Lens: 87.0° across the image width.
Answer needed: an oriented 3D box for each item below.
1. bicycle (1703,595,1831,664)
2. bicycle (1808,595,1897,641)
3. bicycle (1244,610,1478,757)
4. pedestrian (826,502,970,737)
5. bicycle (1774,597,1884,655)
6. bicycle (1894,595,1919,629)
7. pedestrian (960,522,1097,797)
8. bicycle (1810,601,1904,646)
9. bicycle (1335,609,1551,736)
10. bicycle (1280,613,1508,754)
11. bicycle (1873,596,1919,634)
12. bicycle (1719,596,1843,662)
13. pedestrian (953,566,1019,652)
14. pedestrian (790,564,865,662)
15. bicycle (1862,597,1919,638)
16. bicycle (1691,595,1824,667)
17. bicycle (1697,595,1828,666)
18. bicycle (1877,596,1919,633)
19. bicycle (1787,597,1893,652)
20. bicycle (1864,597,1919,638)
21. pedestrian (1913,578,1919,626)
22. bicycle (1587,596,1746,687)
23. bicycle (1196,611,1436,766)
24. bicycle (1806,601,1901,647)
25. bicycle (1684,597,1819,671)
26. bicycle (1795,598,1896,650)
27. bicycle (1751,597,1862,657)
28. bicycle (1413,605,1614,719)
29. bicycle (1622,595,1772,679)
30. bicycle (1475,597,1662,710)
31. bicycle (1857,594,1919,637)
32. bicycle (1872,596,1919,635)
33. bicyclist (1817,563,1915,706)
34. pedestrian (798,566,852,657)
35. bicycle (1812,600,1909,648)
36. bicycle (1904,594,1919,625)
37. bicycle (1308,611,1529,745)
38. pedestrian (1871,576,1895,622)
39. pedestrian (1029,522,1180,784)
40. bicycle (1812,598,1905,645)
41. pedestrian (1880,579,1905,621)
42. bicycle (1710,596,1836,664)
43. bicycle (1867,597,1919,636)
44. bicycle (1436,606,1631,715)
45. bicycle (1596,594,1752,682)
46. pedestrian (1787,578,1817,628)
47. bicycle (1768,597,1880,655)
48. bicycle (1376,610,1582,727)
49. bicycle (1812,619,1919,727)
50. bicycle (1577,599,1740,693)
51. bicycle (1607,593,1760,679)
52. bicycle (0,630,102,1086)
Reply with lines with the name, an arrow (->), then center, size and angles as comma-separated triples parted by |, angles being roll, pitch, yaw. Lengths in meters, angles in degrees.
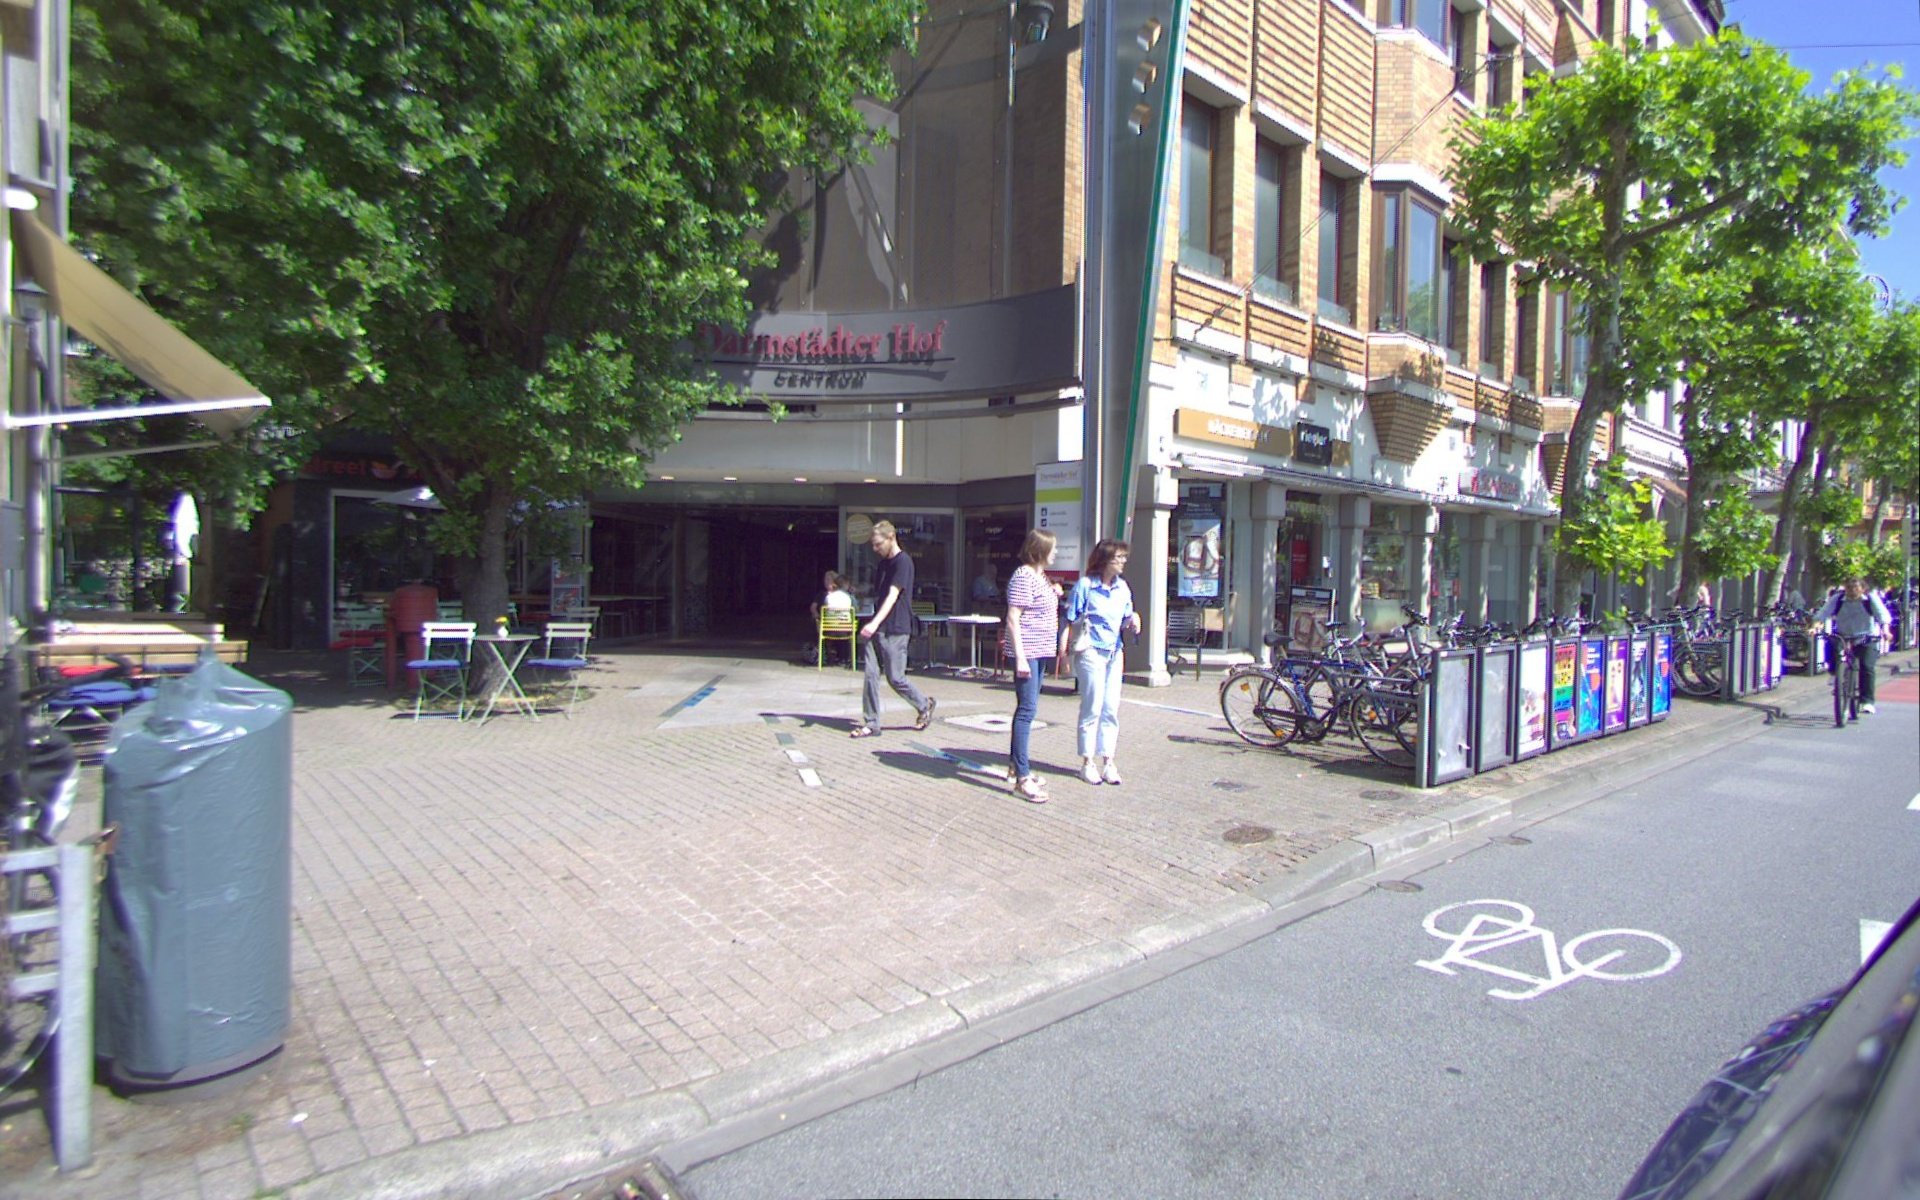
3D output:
bicycle -> 14.536, 0.500, 18.270 | 0.474, 1.161, 1.755 | 0, 1, -42
bicycle -> 23.994, 0.466, 27.234 | 0.474, 1.161, 1.755 | 0, 1, -42
bicycle -> 3.221, 0.623, 8.274 | 0.474, 1.031, 1.755 | 0, 1, -42
pedestrian -> -0.508, 0.135, 8.333 | 0.967, 1.803, 0.670 | 0, 2, -37
bicycle -> 18.781, 0.543, 21.898 | 0.474, 1.161, 1.755 | 0, 1, -42
bicycle -> 33.912, 0.425, 35.412 | 0.582, 1.161, 1.755 | 0, 1, -42
pedestrian -> 0.444, 0.342, 6.508 | 0.596, 1.646, 0.637 | 4, 3, 31
bicycle -> 22.933, 0.593, 25.898 | 0.474, 1.082, 1.755 | 0, 1, -42
bicycle -> 4.417, 0.620, 9.370 | 0.474, 1.031, 1.755 | 0, 1, -42
bicycle -> 3.653, 0.658, 8.655 | 0.474, 1.031, 1.755 | 0, 1, -42
bicycle -> 30.170, 0.480, 32.090 | 0.582, 1.161, 1.755 | 0, 1, -42
bicycle -> 15.472, 0.524, 19.105 | 0.491, 1.161, 1.755 | 0, 1, -42
pedestrian -> 0.393, 0.127, 15.464 | 0.628, 1.271, 0.793 | 0, -1, -37
pedestrian -> -1.798, 0.171, 13.737 | 0.636, 1.271, 0.783 | -1, -1, 37
bicycle -> 27.601, 0.495, 29.615 | 0.474, 1.161, 1.755 | 0, 1, -42
bicycle -> 13.813, 0.504, 17.571 | 0.474, 1.161, 1.755 | 0, 1, -42
bicycle -> 14.178, 0.510, 17.920 | 0.474, 1.161, 1.755 | 0, 1, -42
bicycle -> 30.906, 0.469, 32.766 | 0.582, 1.161, 1.755 | 0, 1, -42
bicycle -> 19.669, 0.521, 22.647 | 0.474, 1.161, 1.755 | 0, 1, -42
bicycle -> 28.020, 0.508, 30.018 | 0.474, 1.161, 1.755 | 0, 1, -42
pedestrian -> 31.405, 0.057, 32.860 | 0.655, 1.557, 0.605 | 0, -1, -42
bicycle -> 9.776, 0.538, 14.056 | 0.474, 1.161, 1.755 | 0, 1, -42
bicycle -> 2.721, 0.631, 7.901 | 0.474, 1.031, 1.755 | 0, 1, -42
bicycle -> 22.556, 0.592, 25.573 | 0.474, 1.101, 1.755 | 0, 1, -42
bicycle -> 13.443, 0.549, 17.223 | 0.474, 1.161, 1.755 | 0, 1, -42
bicycle -> 21.039, 0.557, 24.069 | 0.474, 1.161, 1.755 | 0, 1, -42
bicycle -> 17.803, 0.543, 21.316 | 0.474, 1.202, 1.755 | 0, 1, -42
bicycle -> 5.643, 0.592, 10.405 | 0.474, 1.031, 1.755 | 0, 1, -42
bicycle -> 10.998, 0.518, 15.152 | 0.474, 1.161, 1.755 | 0, 1, -42
bicycle -> 6.862, 0.566, 11.485 | 0.474, 1.161, 1.755 | 0, 1, -42
bicycle -> 27.149, 0.440, 29.240 | 0.474, 1.209, 1.802 | 0, 1, -42
bicycle -> 29.716, 0.487, 31.634 | 0.582, 1.161, 1.755 | 0, 1, -42
bicyclist -> 10.541, 0.382, 11.781 | 0.765, 1.597, 0.749 | 0, -1, -42
pedestrian -> -1.942, 0.163, 14.619 | 0.628, 1.271, 0.793 | -1, 0, 2
bicycle -> 22.291, 0.580, 25.090 | 0.474, 1.119, 1.755 | 0, 1, -42
bicycle -> 37.020, 0.373, 38.365 | 0.582, 1.161, 1.755 | 0, 1, -42
bicycle -> 4.035, 0.640, 9.022 | 0.474, 1.031, 1.755 | 0, 1, -42
pedestrian -> 36.905, -0.027, 40.464 | 0.764, 1.816, 0.634 | 0, -1, -43
pedestrian -> 0.959, 0.319, 6.804 | 0.688, 1.646, 0.699 | 0, 2, -27
bicycle -> 23.384, 0.547, 26.358 | 0.474, 1.161, 1.755 | 0, 1, -42
pedestrian -> 40.012, -0.004, 43.431 | 0.763, 1.805, 0.720 | 0, -1, -43
bicycle -> 14.955, 0.529, 18.652 | 0.474, 1.161, 1.755 | 0, 1, -42
bicycle -> 28.894, 0.508, 30.899 | 0.474, 1.161, 1.755 | 0, 1, -42
bicycle -> 6.085, 0.600, 10.817 | 0.474, 1.031, 1.755 | 0, 1, -42
bicycle -> 10.124, 0.503, 14.399 | 0.474, 1.161, 1.755 | 0, 1, -42
pedestrian -> 29.303, 0.105, 35.216 | 0.664, 1.718, 0.658 | 0, -1, -39
bicycle -> 18.374, 0.531, 21.557 | 0.474, 1.161, 1.755 | 0, 1, -42
bicycle -> 4.997, 0.621, 9.839 | 0.474, 0.997, 1.719 | 0, 1, -42
bicycle -> 10.557, 0.801, 11.770 | 1.865, 1.107, 0.735 | -1, 0, -42
bicycle -> 9.427, 0.585, 13.710 | 0.474, 1.161, 1.755 | 0, 1, -42
bicycle -> 10.526, 0.487, 14.773 | 0.474, 1.161, 1.755 | 0, 1, -42
bicycle -> -2.954, 0.651, 3.078 | 0.474, 1.031, 1.755 | 0, 1, -42
